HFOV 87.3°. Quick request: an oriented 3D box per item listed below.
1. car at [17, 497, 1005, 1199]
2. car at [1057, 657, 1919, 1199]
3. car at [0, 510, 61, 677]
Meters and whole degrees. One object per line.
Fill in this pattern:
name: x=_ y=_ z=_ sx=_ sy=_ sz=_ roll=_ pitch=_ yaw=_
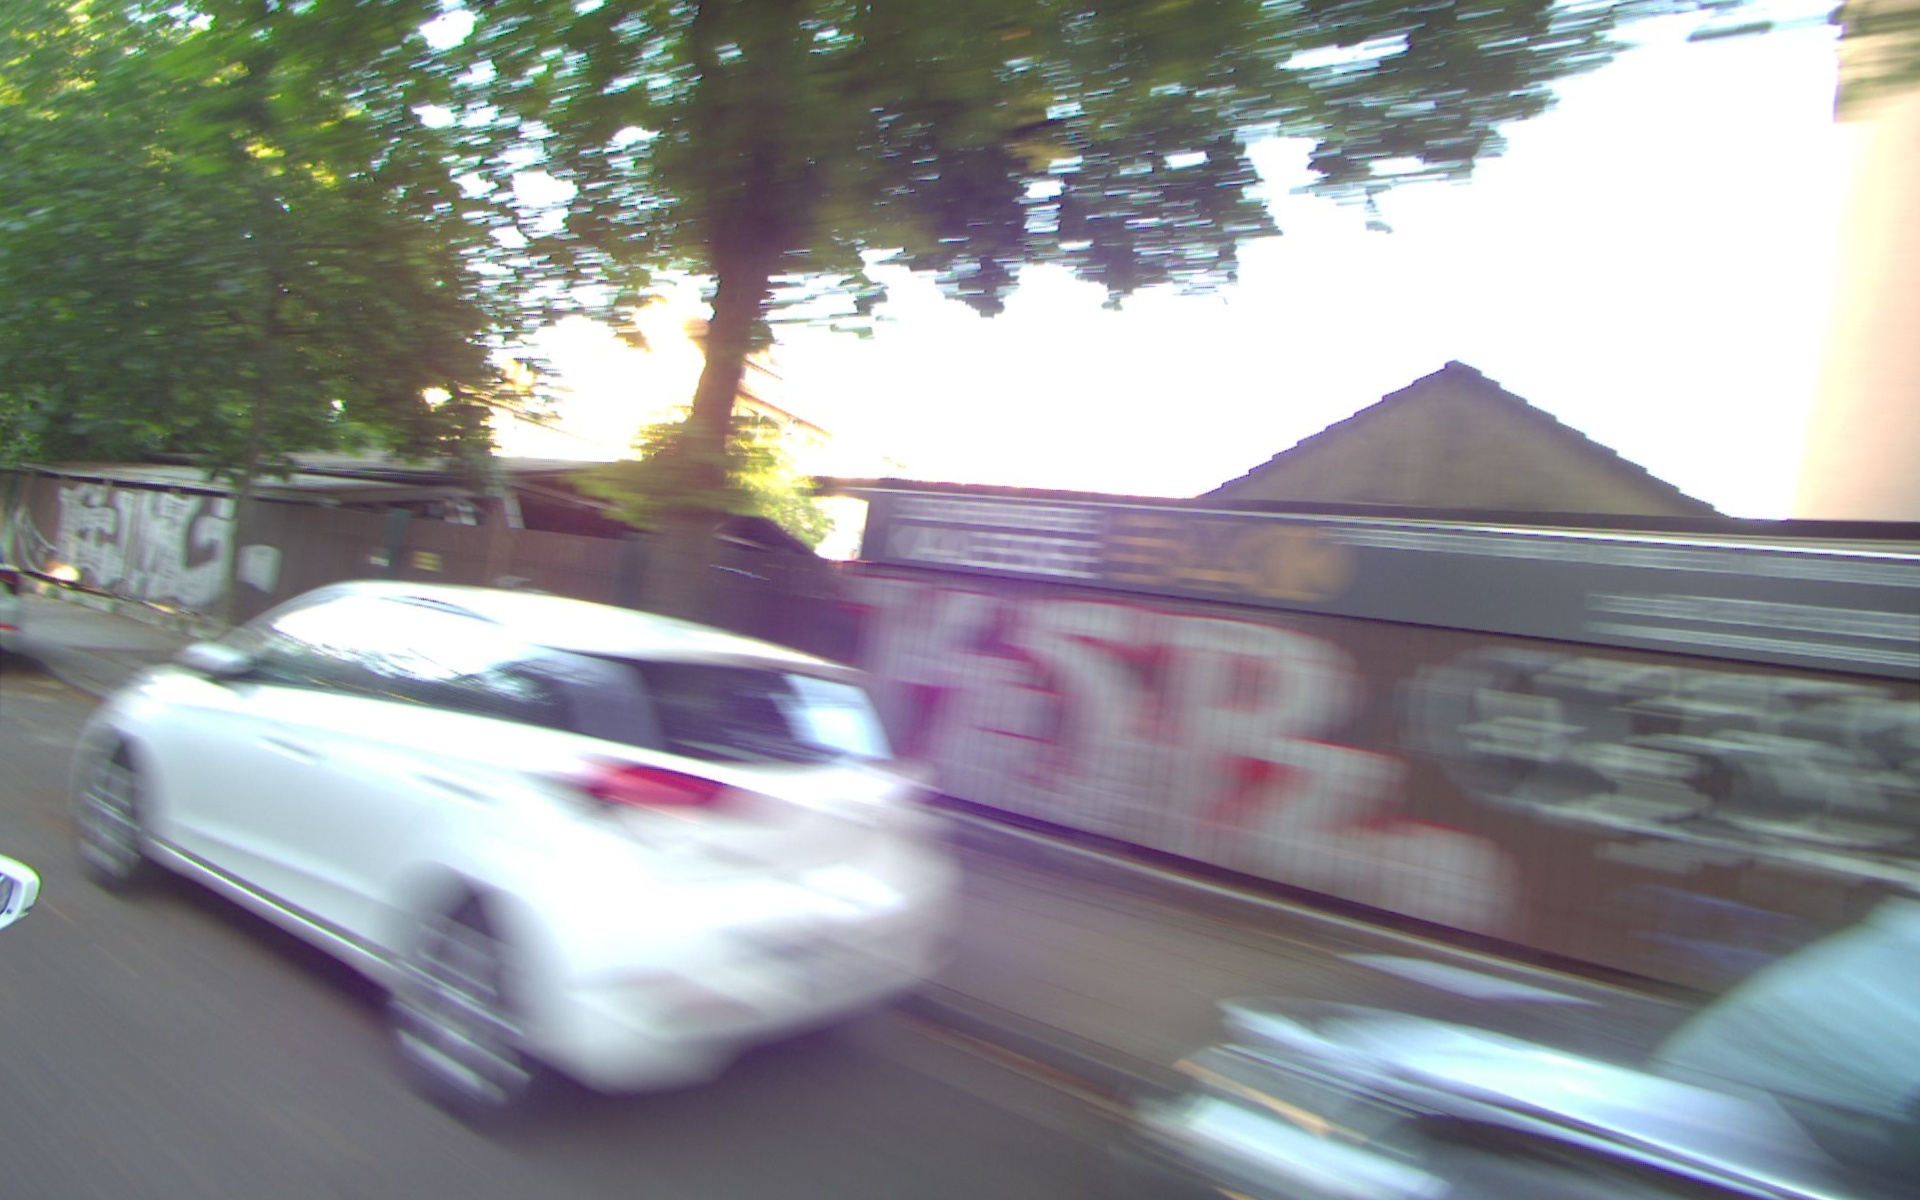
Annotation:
car: x=-2.041 y=0.627 z=4.243 sx=3.958 sy=1.536 sz=1.726 roll=8 pitch=-2 yaw=32
car: x=2.041 y=1.122 z=1.612 sx=3.396 sy=1.466 sz=1.567 roll=8 pitch=-2 yaw=32
car: x=-10.634 y=-0.333 z=9.717 sx=3.939 sy=1.458 sz=1.763 roll=8 pitch=-2 yaw=32
